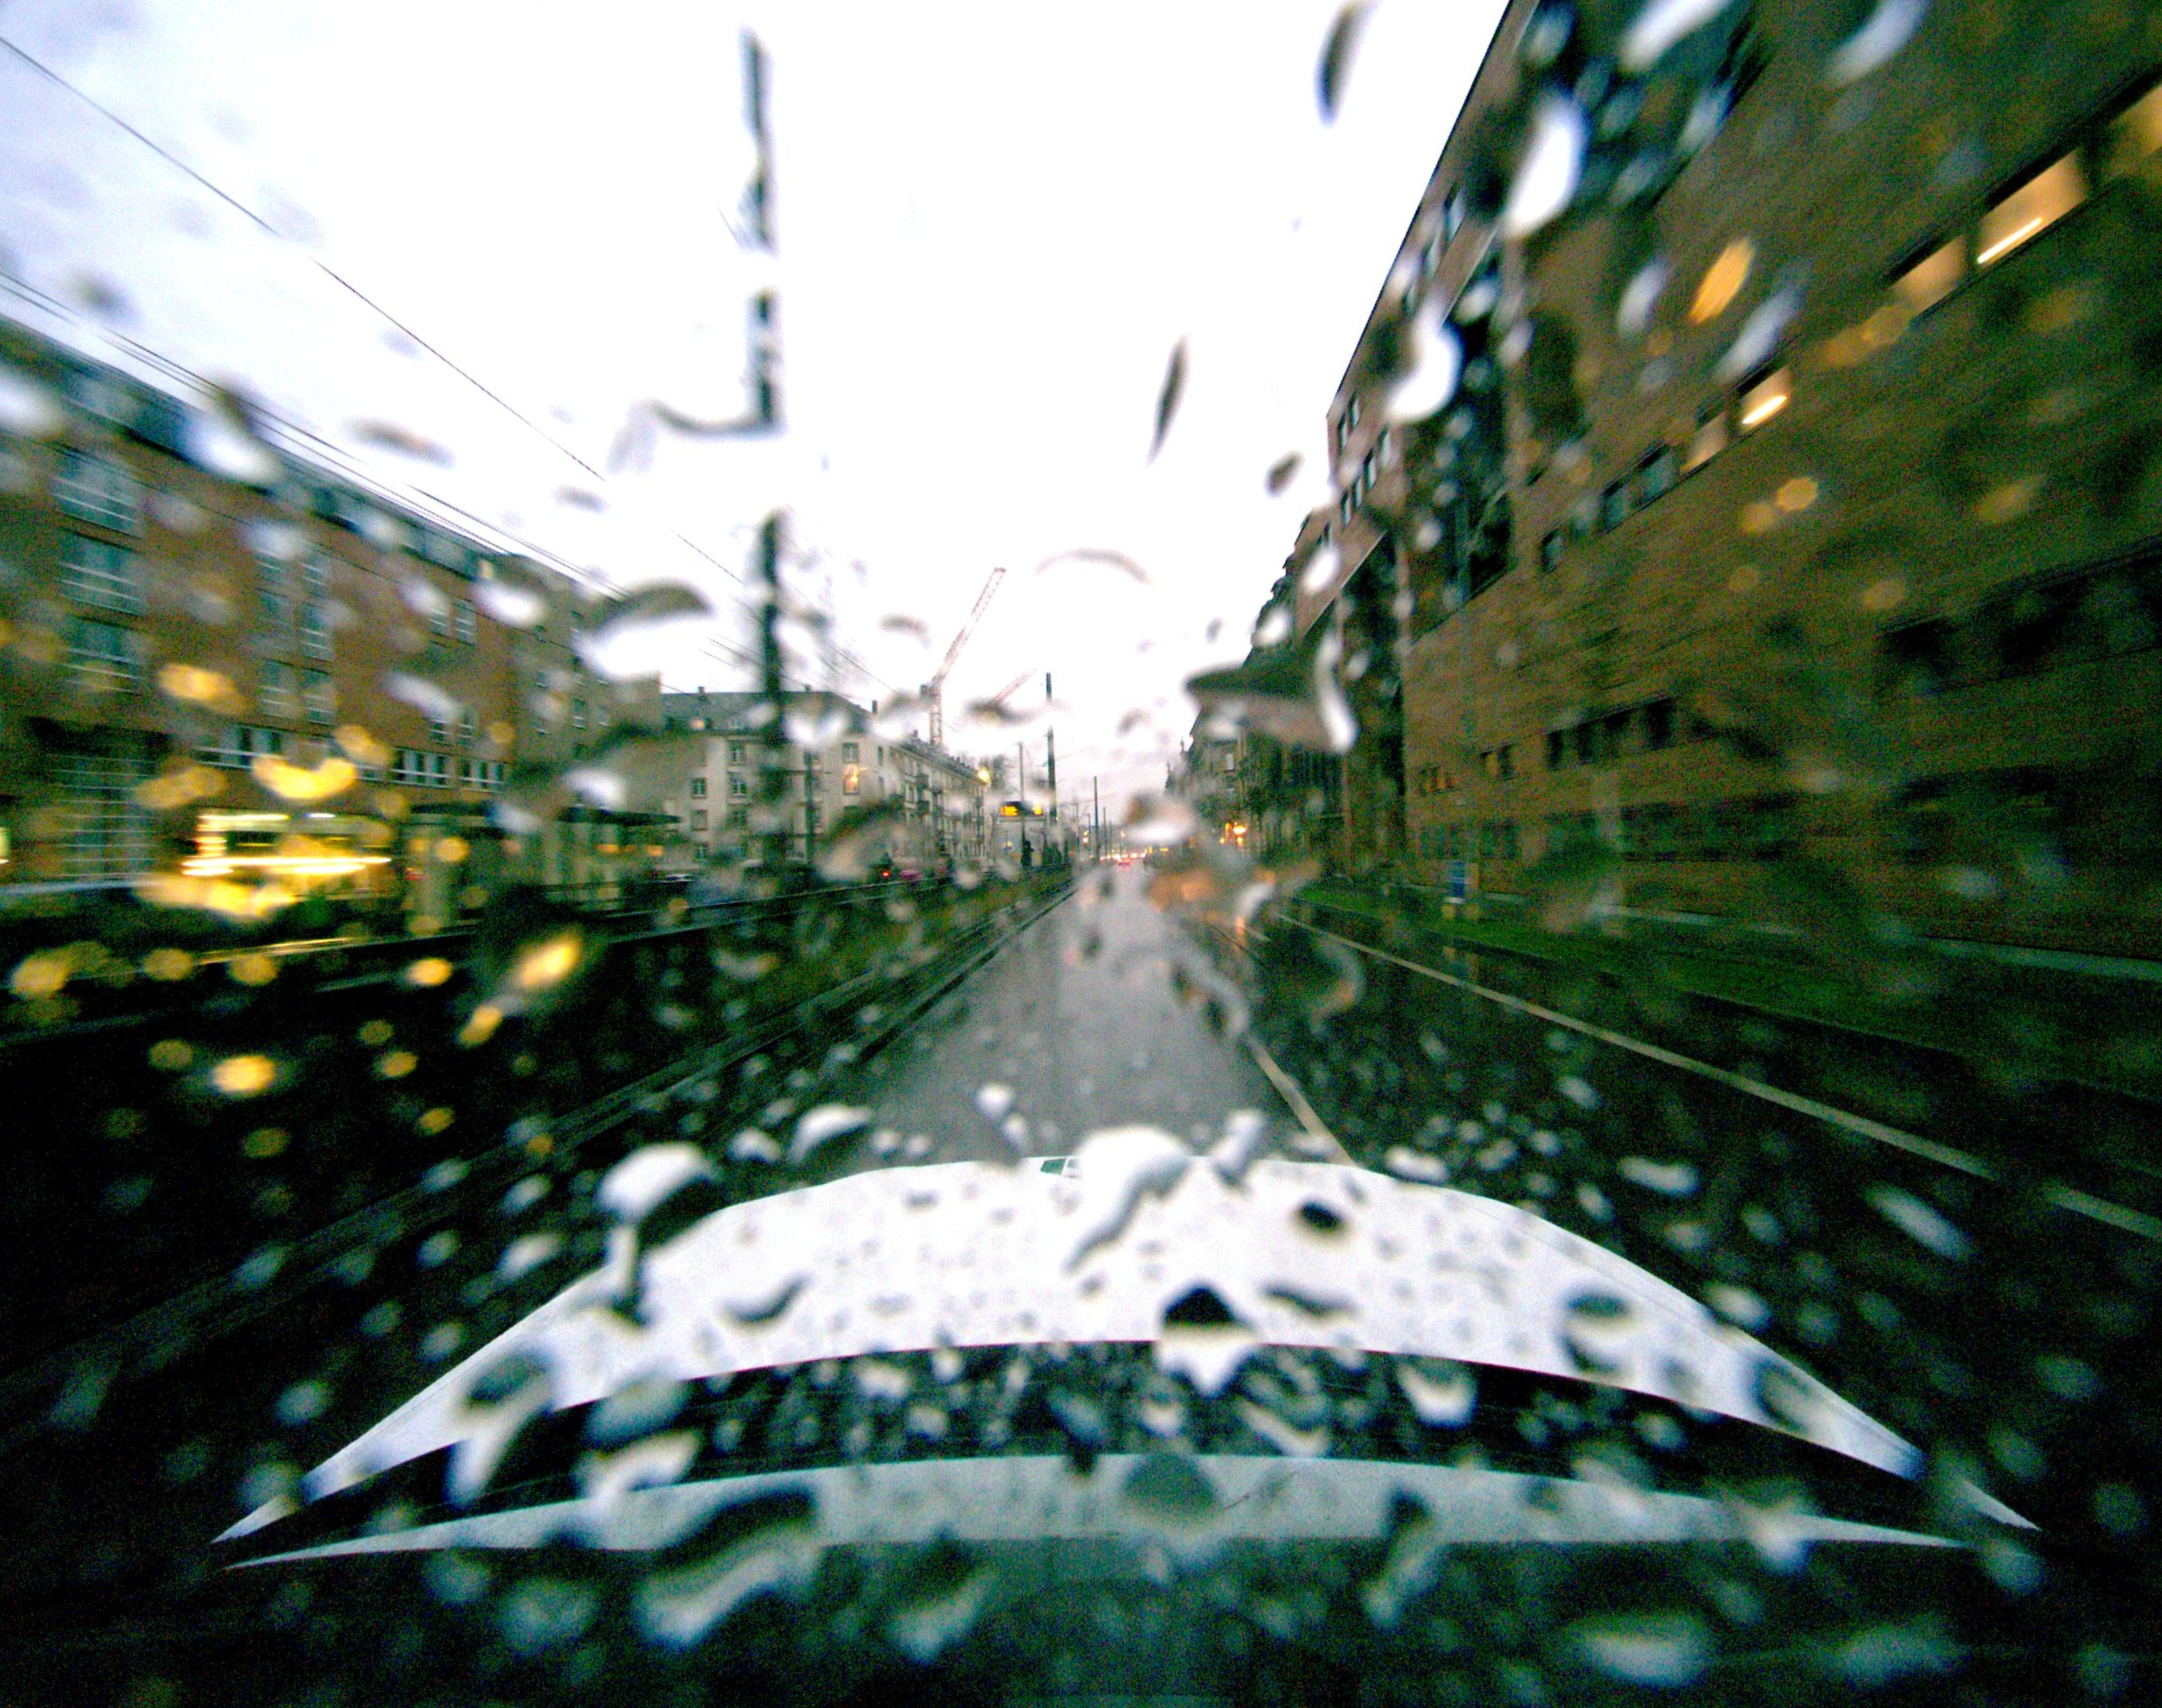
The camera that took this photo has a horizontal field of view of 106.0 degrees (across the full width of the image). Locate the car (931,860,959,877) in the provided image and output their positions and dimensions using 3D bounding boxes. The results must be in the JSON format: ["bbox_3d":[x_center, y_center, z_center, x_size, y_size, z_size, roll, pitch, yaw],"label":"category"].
[{"bbox_3d":[-11.529,1.189,69.199,1.675,1.354,3.548,-1,0,2],"label":"car"}]

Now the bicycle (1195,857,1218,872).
[{"bbox_3d":[9.882,0.848,64.186,1.723,1.055,0.371,-3,0,1],"label":"bicycle"}]

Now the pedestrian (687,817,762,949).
[{"bbox_3d":[-4.455,0.357,10.207,0.616,1.590,0.622,-2,-1,0],"label":"pedestrian"}]

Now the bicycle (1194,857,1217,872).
[{"bbox_3d":[9.856,0.854,64.644,1.723,1.055,0.371,-3,0,1],"label":"bicycle"}]

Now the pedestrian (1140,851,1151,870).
[{"bbox_3d":[7.161,0.734,90.588,0.907,2.013,0.860,-2,0,22],"label":"pedestrian"}]

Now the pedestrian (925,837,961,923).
[{"bbox_3d":[-2.816,0.524,16.641,0.647,1.704,0.565,-1,0,-15],"label":"pedestrian"}]

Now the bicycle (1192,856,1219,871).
[{"bbox_3d":[10.216,0.756,66.832,2.136,1.055,0.425,-4,1,1],"label":"bicycle"}]

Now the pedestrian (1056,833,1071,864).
[{"bbox_3d":[-0.889,-0.274,41.196,0.680,1.516,0.617,-1,0,-10],"label":"pedestrian"}]

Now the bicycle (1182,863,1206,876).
[{"bbox_3d":[9.891,1.355,71.356,2.097,1.052,0.474,-3,0,-24],"label":"bicycle"}]

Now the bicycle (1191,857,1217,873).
[{"bbox_3d":[9.905,0.878,65.608,2.000,1.095,0.425,-5,0,1],"label":"bicycle"}]

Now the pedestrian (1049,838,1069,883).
[{"bbox_3d":[-1.035,0.304,38.911,0.806,2.110,0.805,-2,0,3],"label":"pedestrian"}]

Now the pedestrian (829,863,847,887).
[{"bbox_3d":[-11.164,0.956,37.466,0.611,1.103,0.585,0,-1,-38],"label":"pedestrian"}]

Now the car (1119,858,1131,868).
[{"bbox_3d":[7.187,1.428,131.697,1.776,1.467,3.153,-2,0,5],"label":"car"}]

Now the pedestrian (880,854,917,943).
[{"bbox_3d":[-3.563,0.851,15.952,0.538,1.692,0.643,-2,-1,0],"label":"pedestrian"}]

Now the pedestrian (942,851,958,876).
[{"bbox_3d":[-9.345,0.695,58.131,0.802,1.780,0.813,0,-1,-39],"label":"pedestrian"}]

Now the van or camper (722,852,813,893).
[{"bbox_3d":[-21.704,1.214,56.790,2.755,2.682,6.774,-1,0,11],"label":"van or camper"}]

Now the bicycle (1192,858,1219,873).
[{"bbox_3d":[10.296,0.962,67.474,2.136,1.055,0.484,-3,0,1],"label":"bicycle"}]

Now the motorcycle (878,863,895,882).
[{"bbox_3d":[-10.464,0.996,43.871,0.511,1.008,1.806,0,0,-1],"label":"motorcycle"}]

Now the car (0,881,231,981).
[{"bbox_3d":[-16.278,1.158,12.904,1.812,1.354,3.548,-1,0,2],"label":"car"}]

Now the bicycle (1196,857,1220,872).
[{"bbox_3d":[9.916,0.843,63.683,1.723,1.055,0.371,-3,0,1],"label":"bicycle"}]

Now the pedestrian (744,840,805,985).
[{"bbox_3d":[-3.685,0.686,9.819,0.479,1.678,0.563,-2,-1,0],"label":"pedestrian"}]

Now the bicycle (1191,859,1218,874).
[{"bbox_3d":[10.418,1.079,68.760,2.136,1.055,0.425,-5,1,1],"label":"bicycle"}]

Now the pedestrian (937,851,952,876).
[{"bbox_3d":[-10.047,0.705,60.081,0.802,1.780,0.813,0,-1,-39],"label":"pedestrian"}]

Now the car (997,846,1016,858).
[{"bbox_3d":[-8.403,-0.208,92.456,1.675,1.354,3.548,-1,0,2],"label":"car"}]

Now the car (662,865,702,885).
[{"bbox_3d":[-31.794,1.637,64.969,1.600,1.430,4.132,-2,0,-8],"label":"car"}]

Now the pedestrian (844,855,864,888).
[{"bbox_3d":[-10.534,0.805,37.762,0.639,1.524,0.747,0,-1,-39],"label":"pedestrian"}]

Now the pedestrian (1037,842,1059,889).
[{"bbox_3d":[-1.419,0.494,34.937,0.806,1.947,0.805,-2,0,3],"label":"pedestrian"}]

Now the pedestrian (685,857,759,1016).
[{"bbox_3d":[-3.724,0.832,8.485,0.479,1.590,0.563,-2,-1,0],"label":"pedestrian"}]

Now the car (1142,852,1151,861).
[{"bbox_3d":[13.792,0.520,171.736,1.790,1.604,3.776,-2,0,5],"label":"car"}]

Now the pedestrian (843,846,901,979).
[{"bbox_3d":[-2.590,0.706,10.135,0.538,1.590,0.563,-2,-1,0],"label":"pedestrian"}]

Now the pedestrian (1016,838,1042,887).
[{"bbox_3d":[-1.844,0.285,28.880,0.777,1.704,0.769,-1,0,-15],"label":"pedestrian"}]

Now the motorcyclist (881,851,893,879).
[{"bbox_3d":[-10.467,0.563,43.880,0.497,1.496,0.556,0,0,-2],"label":"motorcyclist"}]
